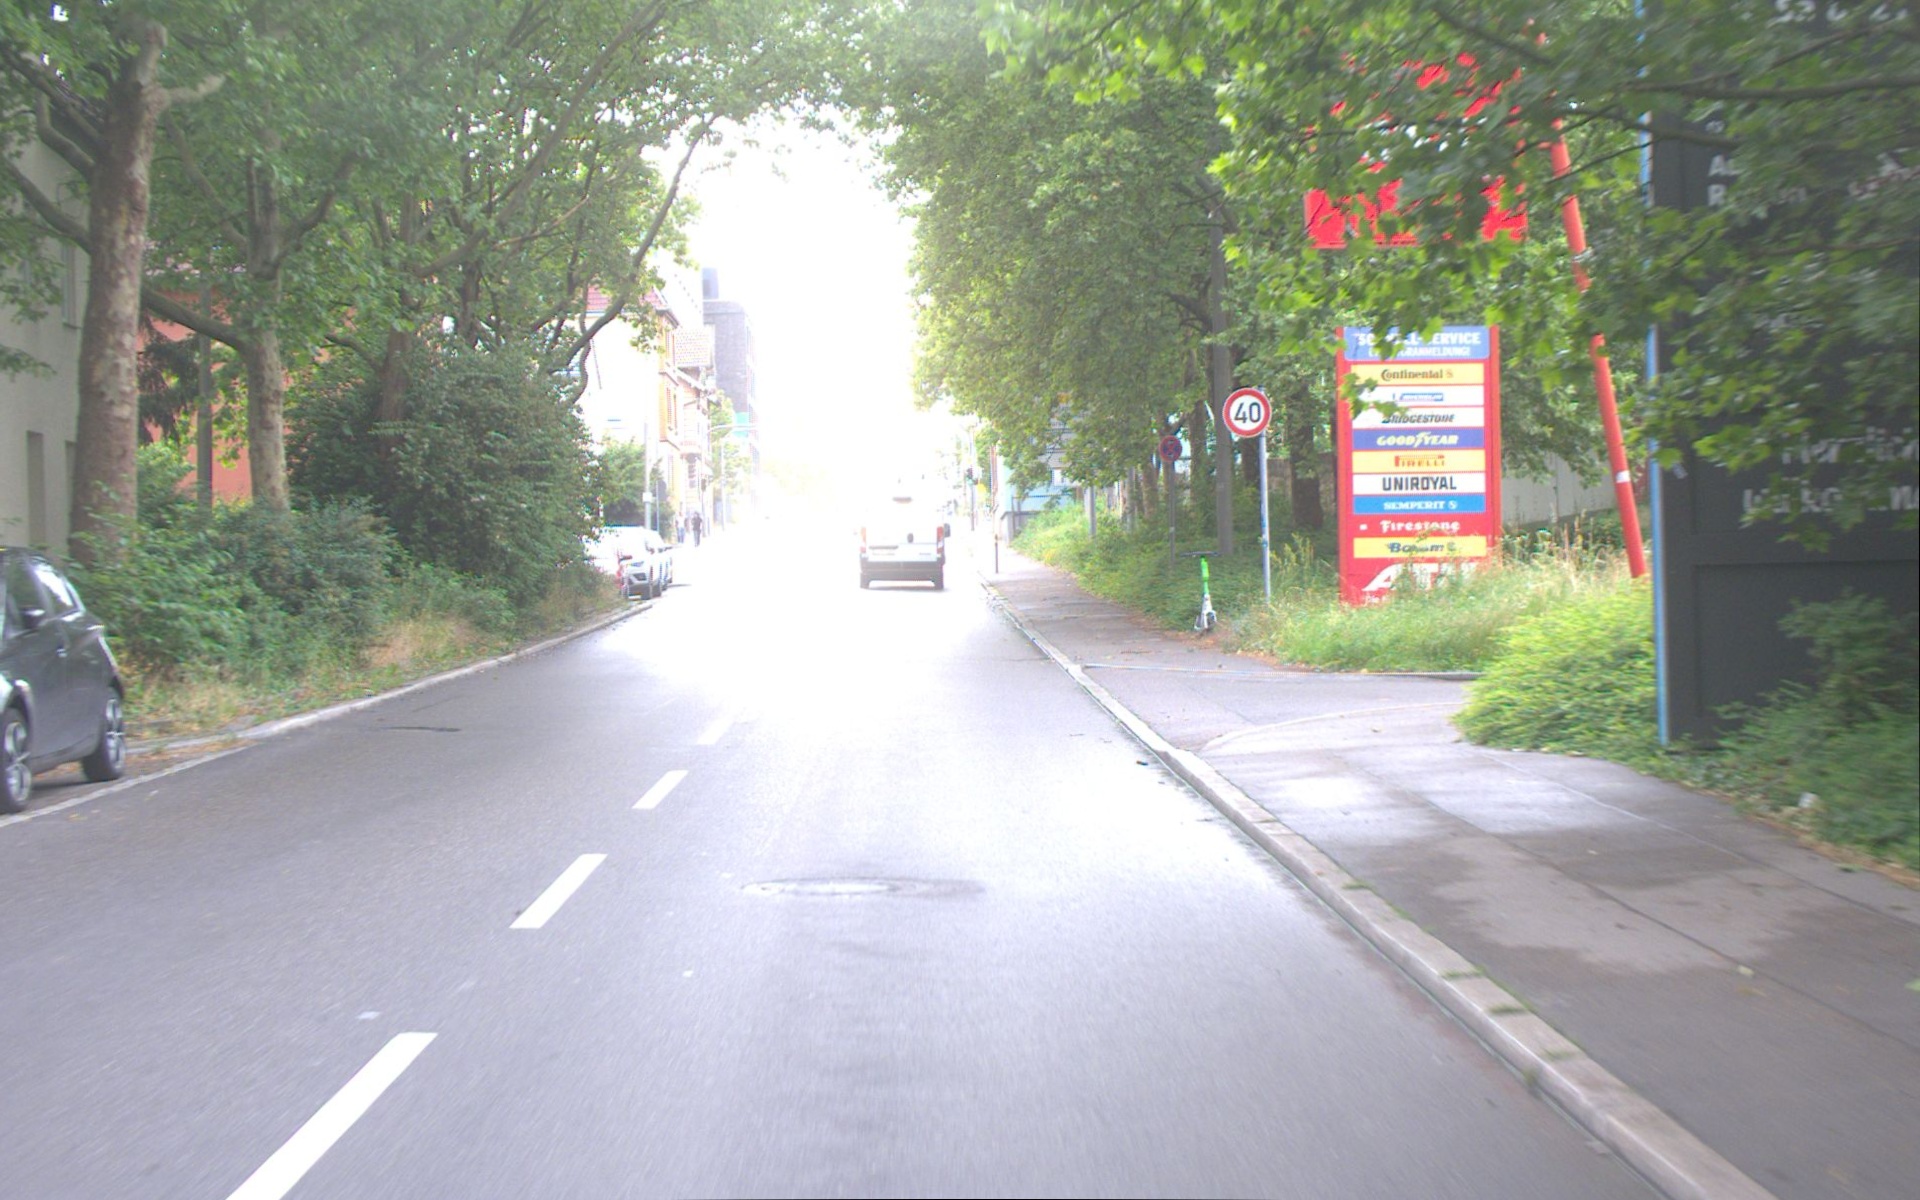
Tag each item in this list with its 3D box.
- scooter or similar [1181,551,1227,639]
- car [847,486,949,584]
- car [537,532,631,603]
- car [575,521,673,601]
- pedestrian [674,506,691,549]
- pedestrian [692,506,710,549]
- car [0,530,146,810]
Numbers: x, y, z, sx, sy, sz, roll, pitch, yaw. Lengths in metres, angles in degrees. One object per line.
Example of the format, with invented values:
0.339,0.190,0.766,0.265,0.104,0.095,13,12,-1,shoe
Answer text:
3.235,-0.052,45.688,0.425,1.138,1.529,1,-1,-3,scooter or similar
-1.476,-1.543,83.206,2.336,2.223,4.000,-2,0,0,car
-7.586,-0.676,69.600,1.638,1.369,3.760,0,1,-3,car
-7.293,-0.881,74.944,1.691,1.536,4.118,-4,2,0,car
-13.218,-3.461,163.985,0.671,2.007,0.941,-1,1,3,pedestrian
-12.352,-3.458,163.950,0.671,2.007,0.941,-1,1,4,pedestrian
-6.164,0.423,20.472,1.647,1.532,4.019,-5,1,-1,car
